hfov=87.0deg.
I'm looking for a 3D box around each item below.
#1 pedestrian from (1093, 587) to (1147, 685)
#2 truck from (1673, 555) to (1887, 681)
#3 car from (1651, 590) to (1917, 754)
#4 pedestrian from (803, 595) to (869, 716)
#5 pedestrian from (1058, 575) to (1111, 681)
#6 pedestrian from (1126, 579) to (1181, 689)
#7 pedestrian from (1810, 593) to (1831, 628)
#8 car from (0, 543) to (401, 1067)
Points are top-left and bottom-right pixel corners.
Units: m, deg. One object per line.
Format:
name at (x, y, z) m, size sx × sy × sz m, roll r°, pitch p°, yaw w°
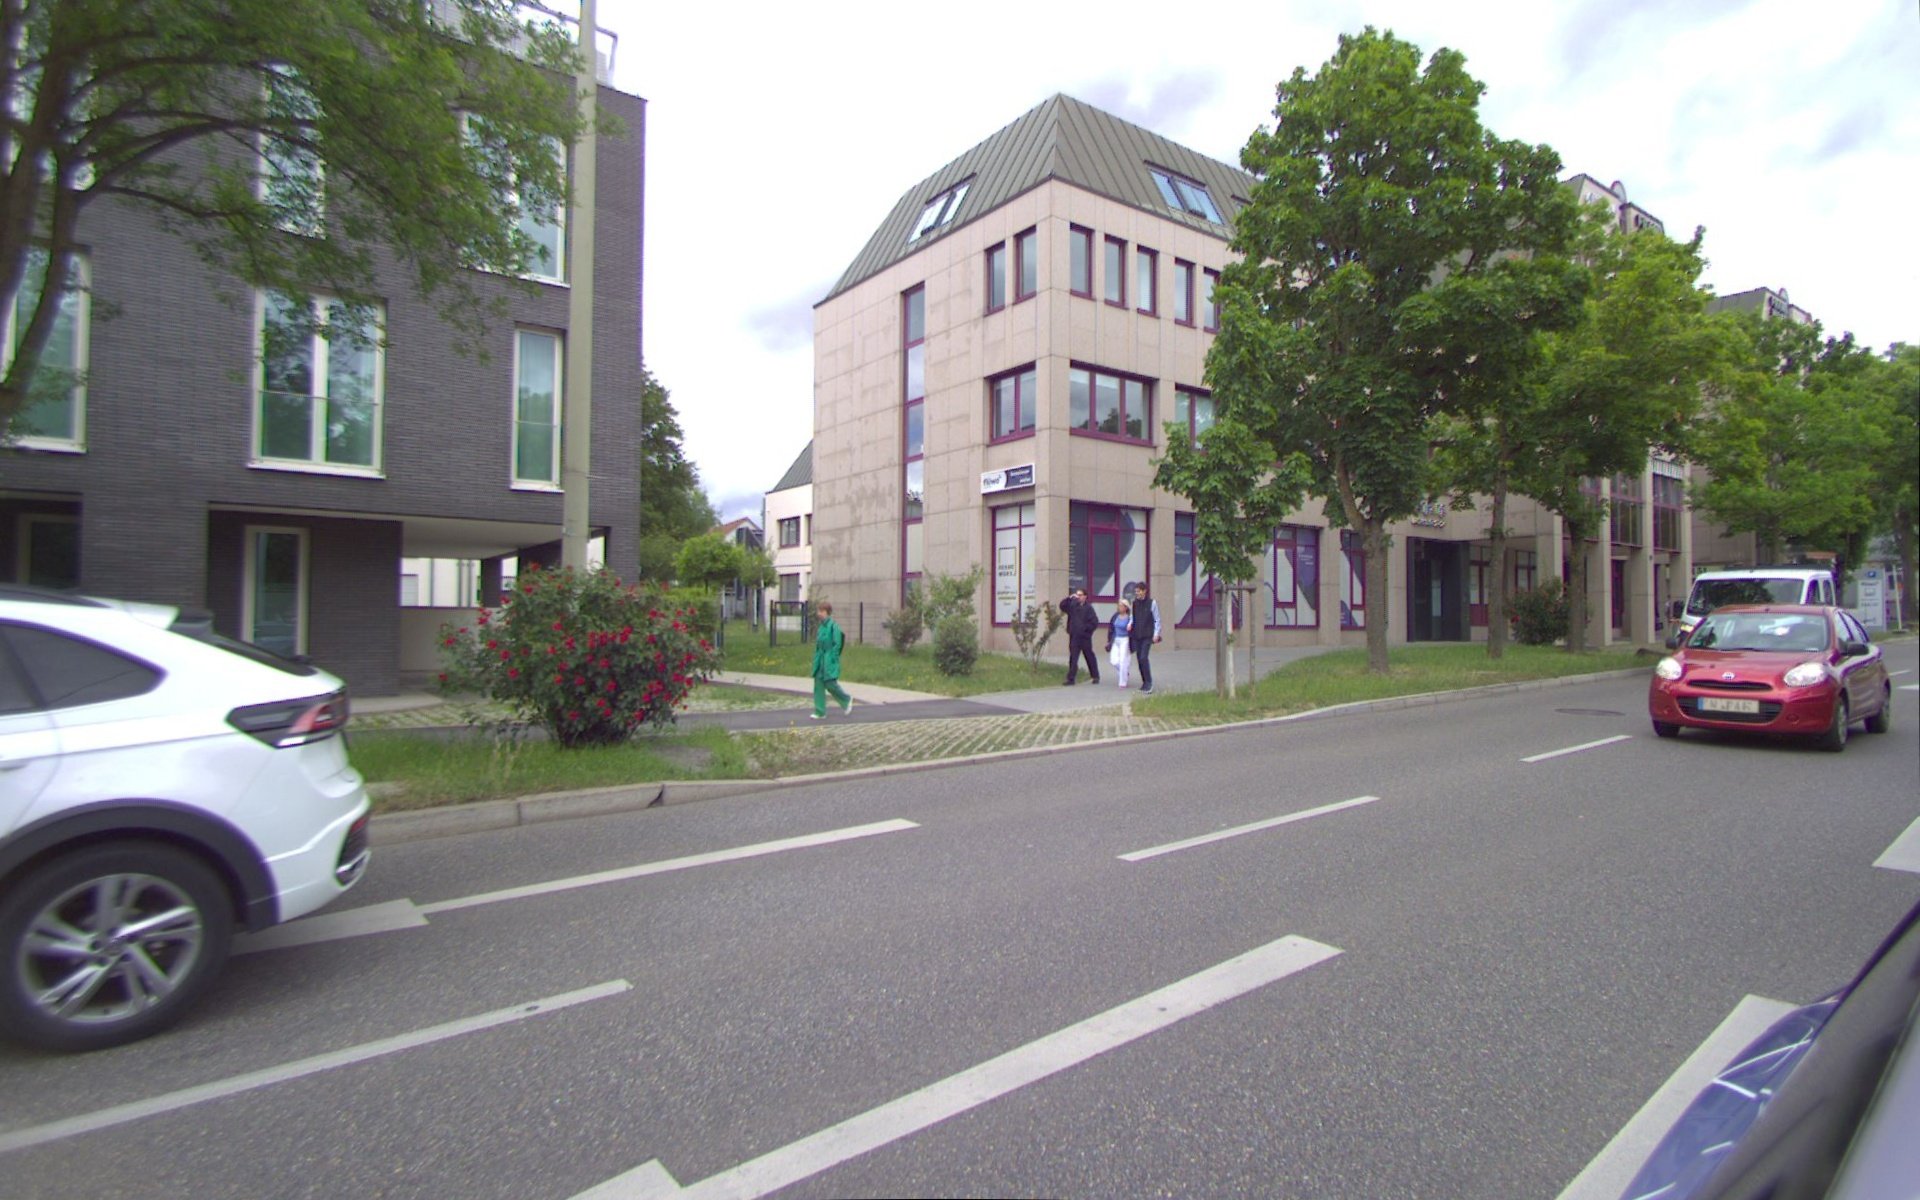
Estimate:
pedestrian at (2.795, 0.611, 17.663) m, size 0.665 × 1.668 × 0.642 m, roll 0°, pitch -1°, yaw -41°
truck at (16.784, 0.303, 20.603) m, size 5.738 × 2.231 × 2.216 m, roll 0°, pitch 0°, yaw -39°
car at (9.614, 0.686, 11.719) m, size 3.790 × 1.577 × 1.719 m, roll 0°, pitch 1°, yaw -40°
pedestrian at (-1.646, 0.715, 13.420) m, size 0.665 × 1.537 × 0.496 m, roll 0°, pitch 2°, yaw -41°
pedestrian at (2.220, 0.487, 18.047) m, size 0.665 × 1.828 × 0.642 m, roll 0°, pitch -1°, yaw -41°
pedestrian at (3.281, 0.562, 17.185) m, size 0.665 × 1.828 × 0.642 m, roll 0°, pitch -1°, yaw -41°
pedestrian at (44.735, 0.548, 52.605) m, size 0.818 × 1.769 × 0.718 m, roll 0°, pitch 0°, yaw -43°
car at (-4.138, 0.612, 3.065) m, size 4.019 × 1.575 × 1.718 m, roll 0°, pitch 0°, yaw -42°
